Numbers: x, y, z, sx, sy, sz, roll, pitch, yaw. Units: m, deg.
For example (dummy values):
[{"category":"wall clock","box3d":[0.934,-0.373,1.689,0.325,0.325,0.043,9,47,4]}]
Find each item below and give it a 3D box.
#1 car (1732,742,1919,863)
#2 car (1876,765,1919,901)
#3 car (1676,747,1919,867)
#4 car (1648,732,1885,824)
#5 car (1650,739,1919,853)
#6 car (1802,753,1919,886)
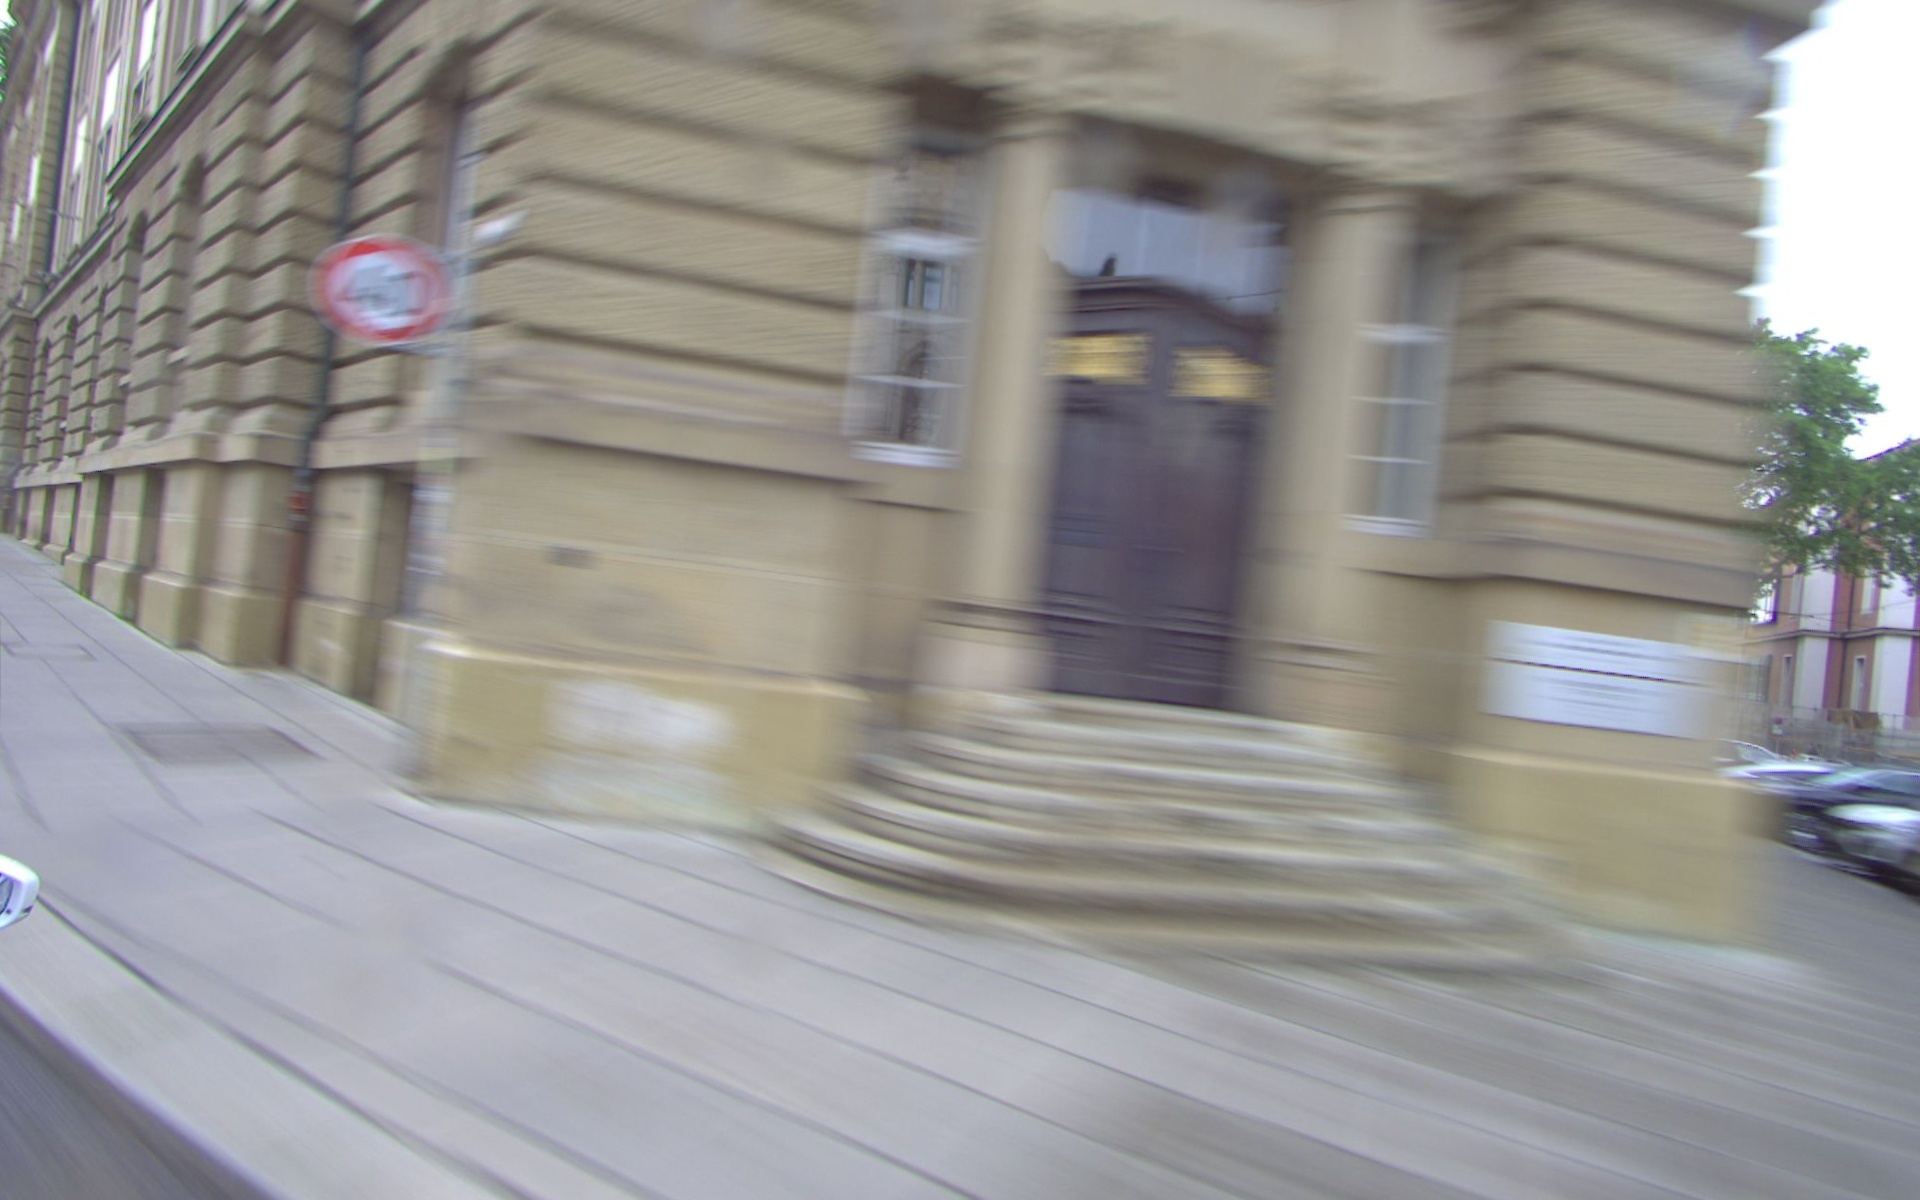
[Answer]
[{"category":"car","box3d":[16.682,3.687,17.435,4.819,1.613,1.981,6,-3,27]},{"category":"car","box3d":[13.994,3.145,11.679,4.472,1.613,1.980,6,-3,28]},{"category":"car","box3d":[17.512,4.168,20.115,4.819,1.613,1.981,6,-3,27]},{"category":"car","box3d":[22.366,4.892,28.202,4.823,1.613,1.979,6,-3,32]},{"category":"car","box3d":[18.634,4.338,22.593,4.819,1.613,1.981,6,-3,27]},{"category":"car","box3d":[14.960,3.330,13.753,4.819,1.613,1.981,6,-3,27]}]
